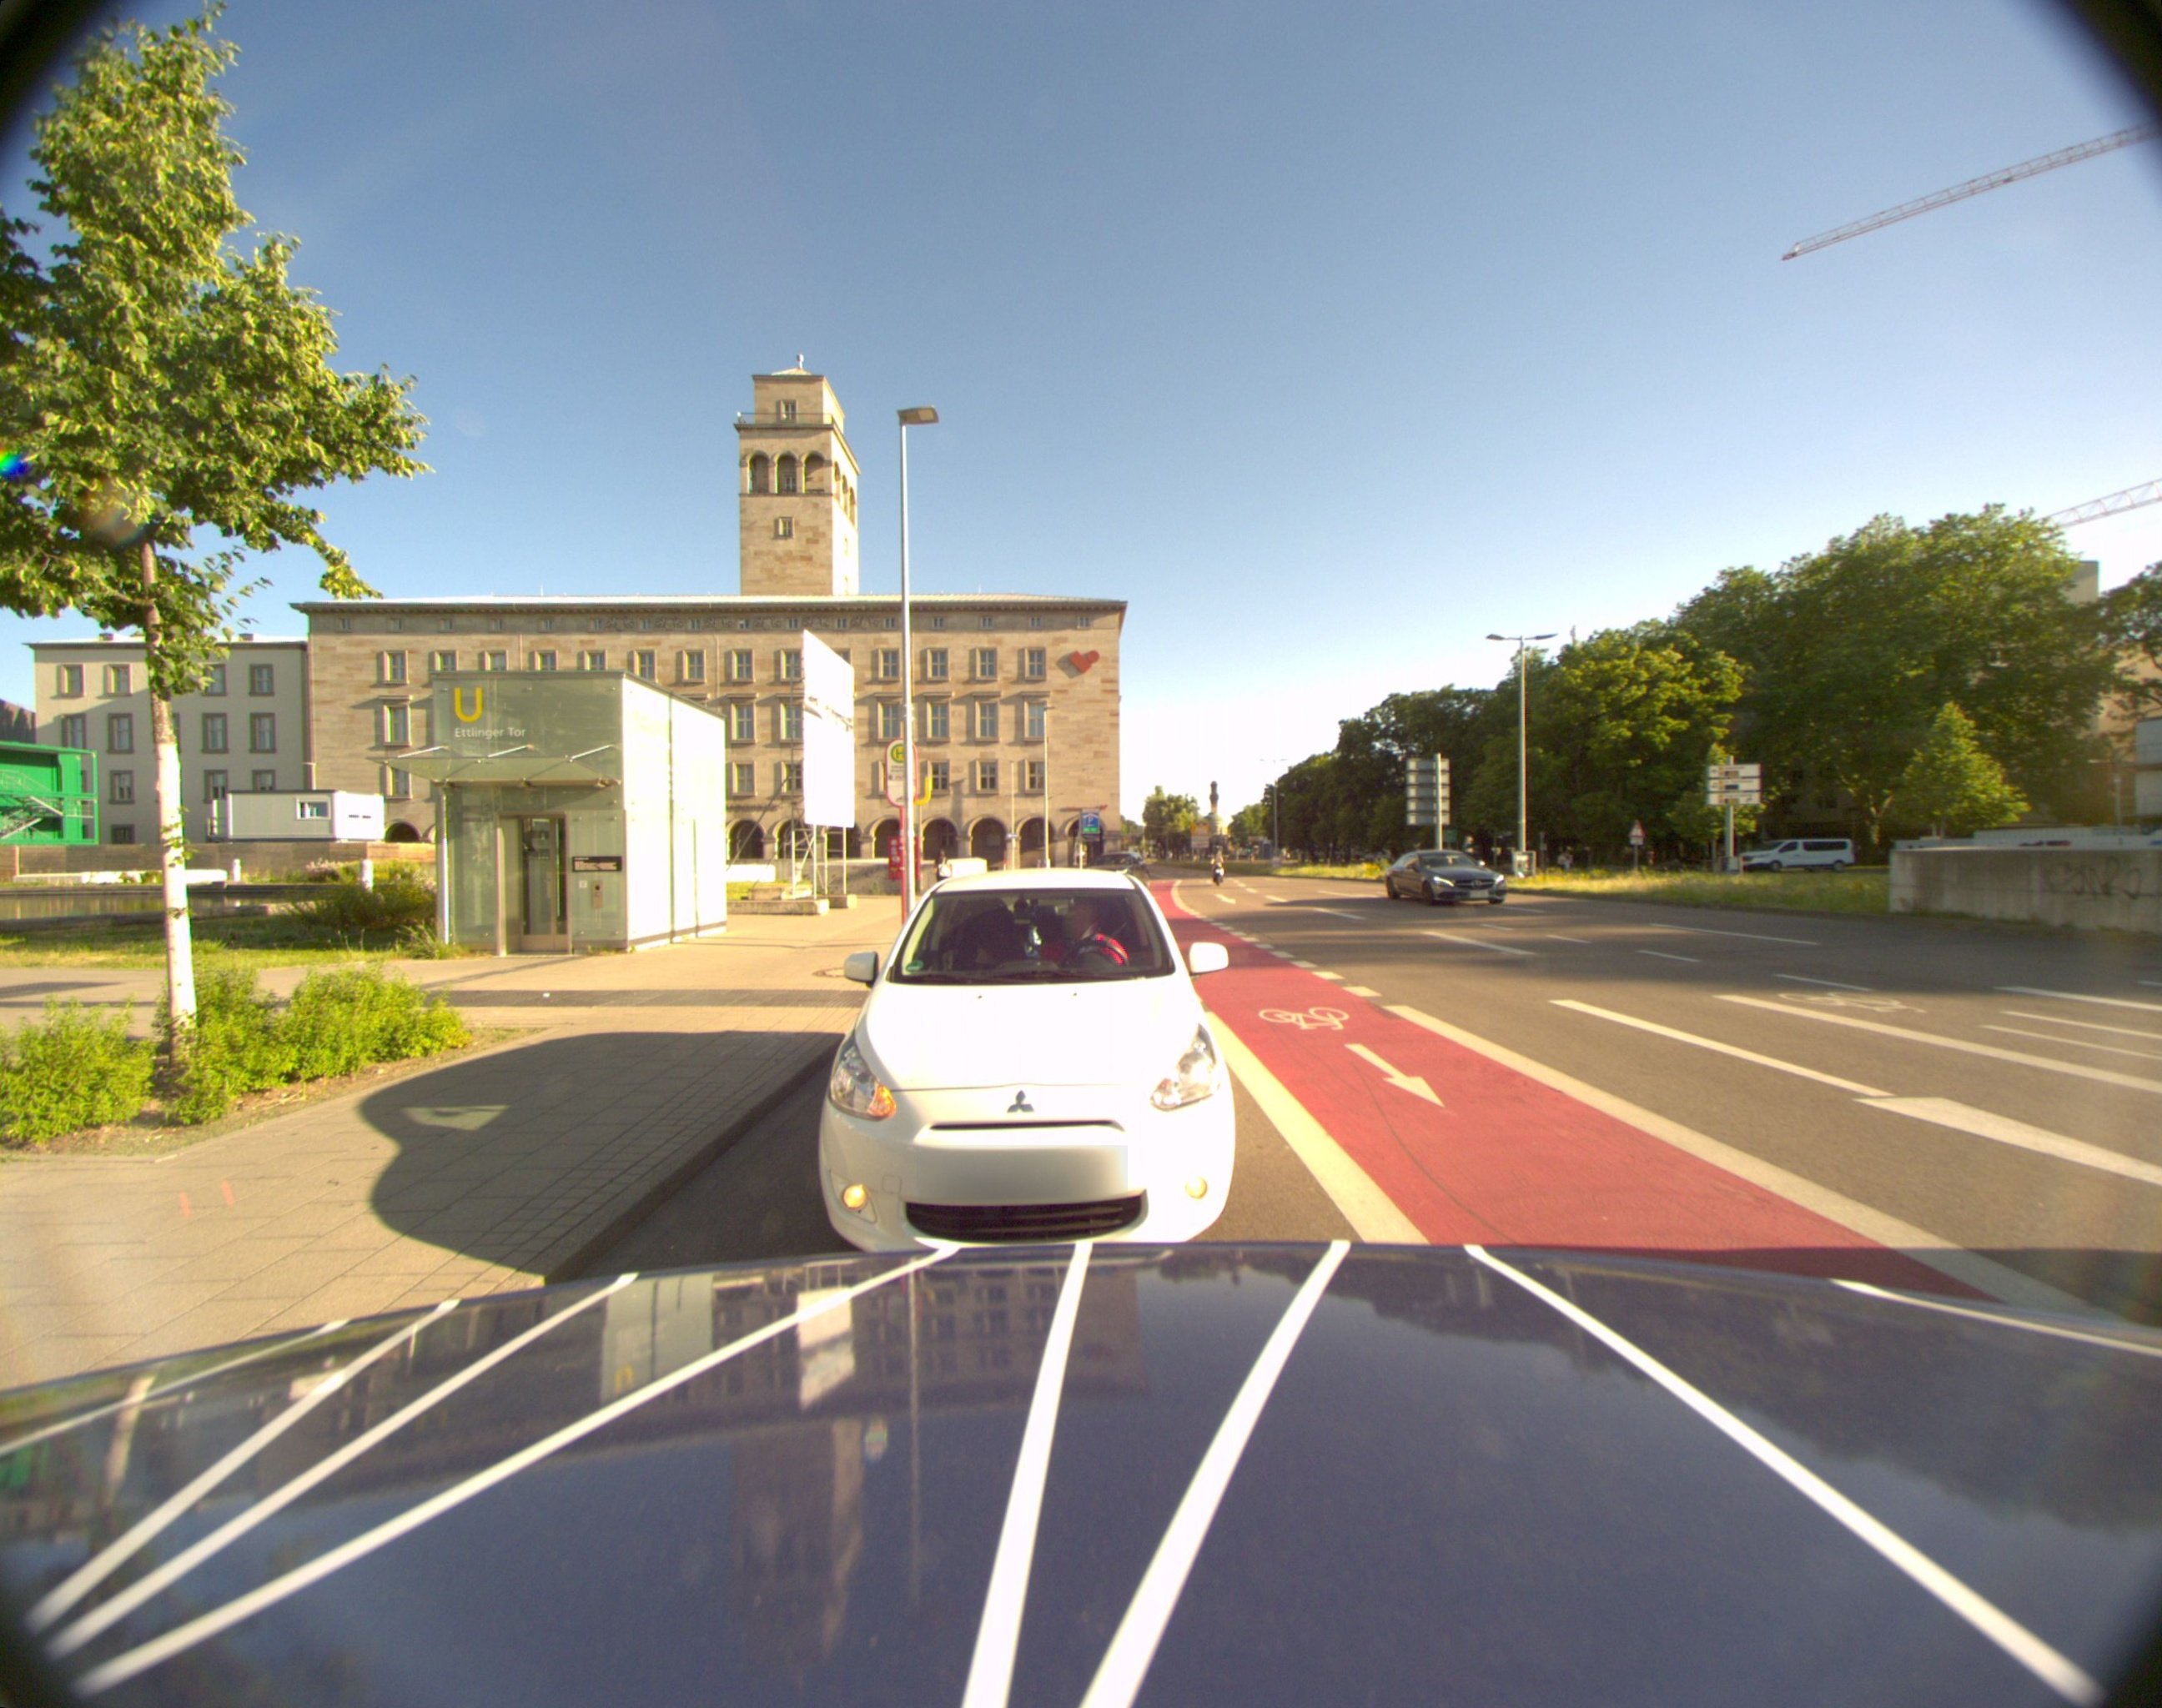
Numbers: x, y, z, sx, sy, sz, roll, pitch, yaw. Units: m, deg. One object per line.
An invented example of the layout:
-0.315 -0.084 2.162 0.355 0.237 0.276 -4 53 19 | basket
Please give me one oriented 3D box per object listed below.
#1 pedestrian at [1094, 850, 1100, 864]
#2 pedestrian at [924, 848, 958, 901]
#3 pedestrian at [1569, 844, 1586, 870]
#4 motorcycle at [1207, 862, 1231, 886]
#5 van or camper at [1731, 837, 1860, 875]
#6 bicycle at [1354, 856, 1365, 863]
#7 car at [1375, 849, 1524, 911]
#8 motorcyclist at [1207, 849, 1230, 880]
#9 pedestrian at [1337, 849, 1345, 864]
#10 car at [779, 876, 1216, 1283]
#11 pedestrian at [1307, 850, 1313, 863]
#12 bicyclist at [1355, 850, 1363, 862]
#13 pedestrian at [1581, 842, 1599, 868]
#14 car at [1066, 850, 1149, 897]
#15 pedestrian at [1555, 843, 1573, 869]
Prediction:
2.104 0.387 99.863 0.704 1.843 0.828 -1 1 0 | pedestrian
-4.801 0.685 26.090 0.942 1.776 1.072 -1 1 1 | pedestrian
32.972 0.188 50.481 0.665 1.715 0.762 0 1 1 | pedestrian
6.475 0.910 35.765 0.974 1.008 2.268 -2 0 7 | motorcycle
42.299 0.082 45.081 5.649 2.002 1.948 -2 1 2 | van or camper
31.978 0.630 87.379 0.610 0.838 1.745 -1 0 -1 | bicycle
9.657 0.616 20.383 1.998 1.398 4.489 -2 0 4 | car
6.457 0.492 35.705 0.974 1.405 1.059 -2 1 7 | motorcyclist
32.295 0.352 94.436 0.628 1.837 0.925 -1 1 -1 | pedestrian
-0.239 0.958 4.938 1.678 1.440 3.889 -2 0 3 | car
32.264 0.348 106.968 0.568 1.837 0.734 -1 1 -1 | pedestrian
31.995 0.236 87.371 0.610 1.274 0.715 -1 1 -1 | bicyclist
33.806 0.077 50.481 0.707 1.715 0.762 -1 1 1 | pedestrian
1.139 0.710 29.896 1.995 1.709 4.332 0 0 20 | car
32.063 0.118 50.457 0.707 1.715 0.762 -1 1 1 | pedestrian
